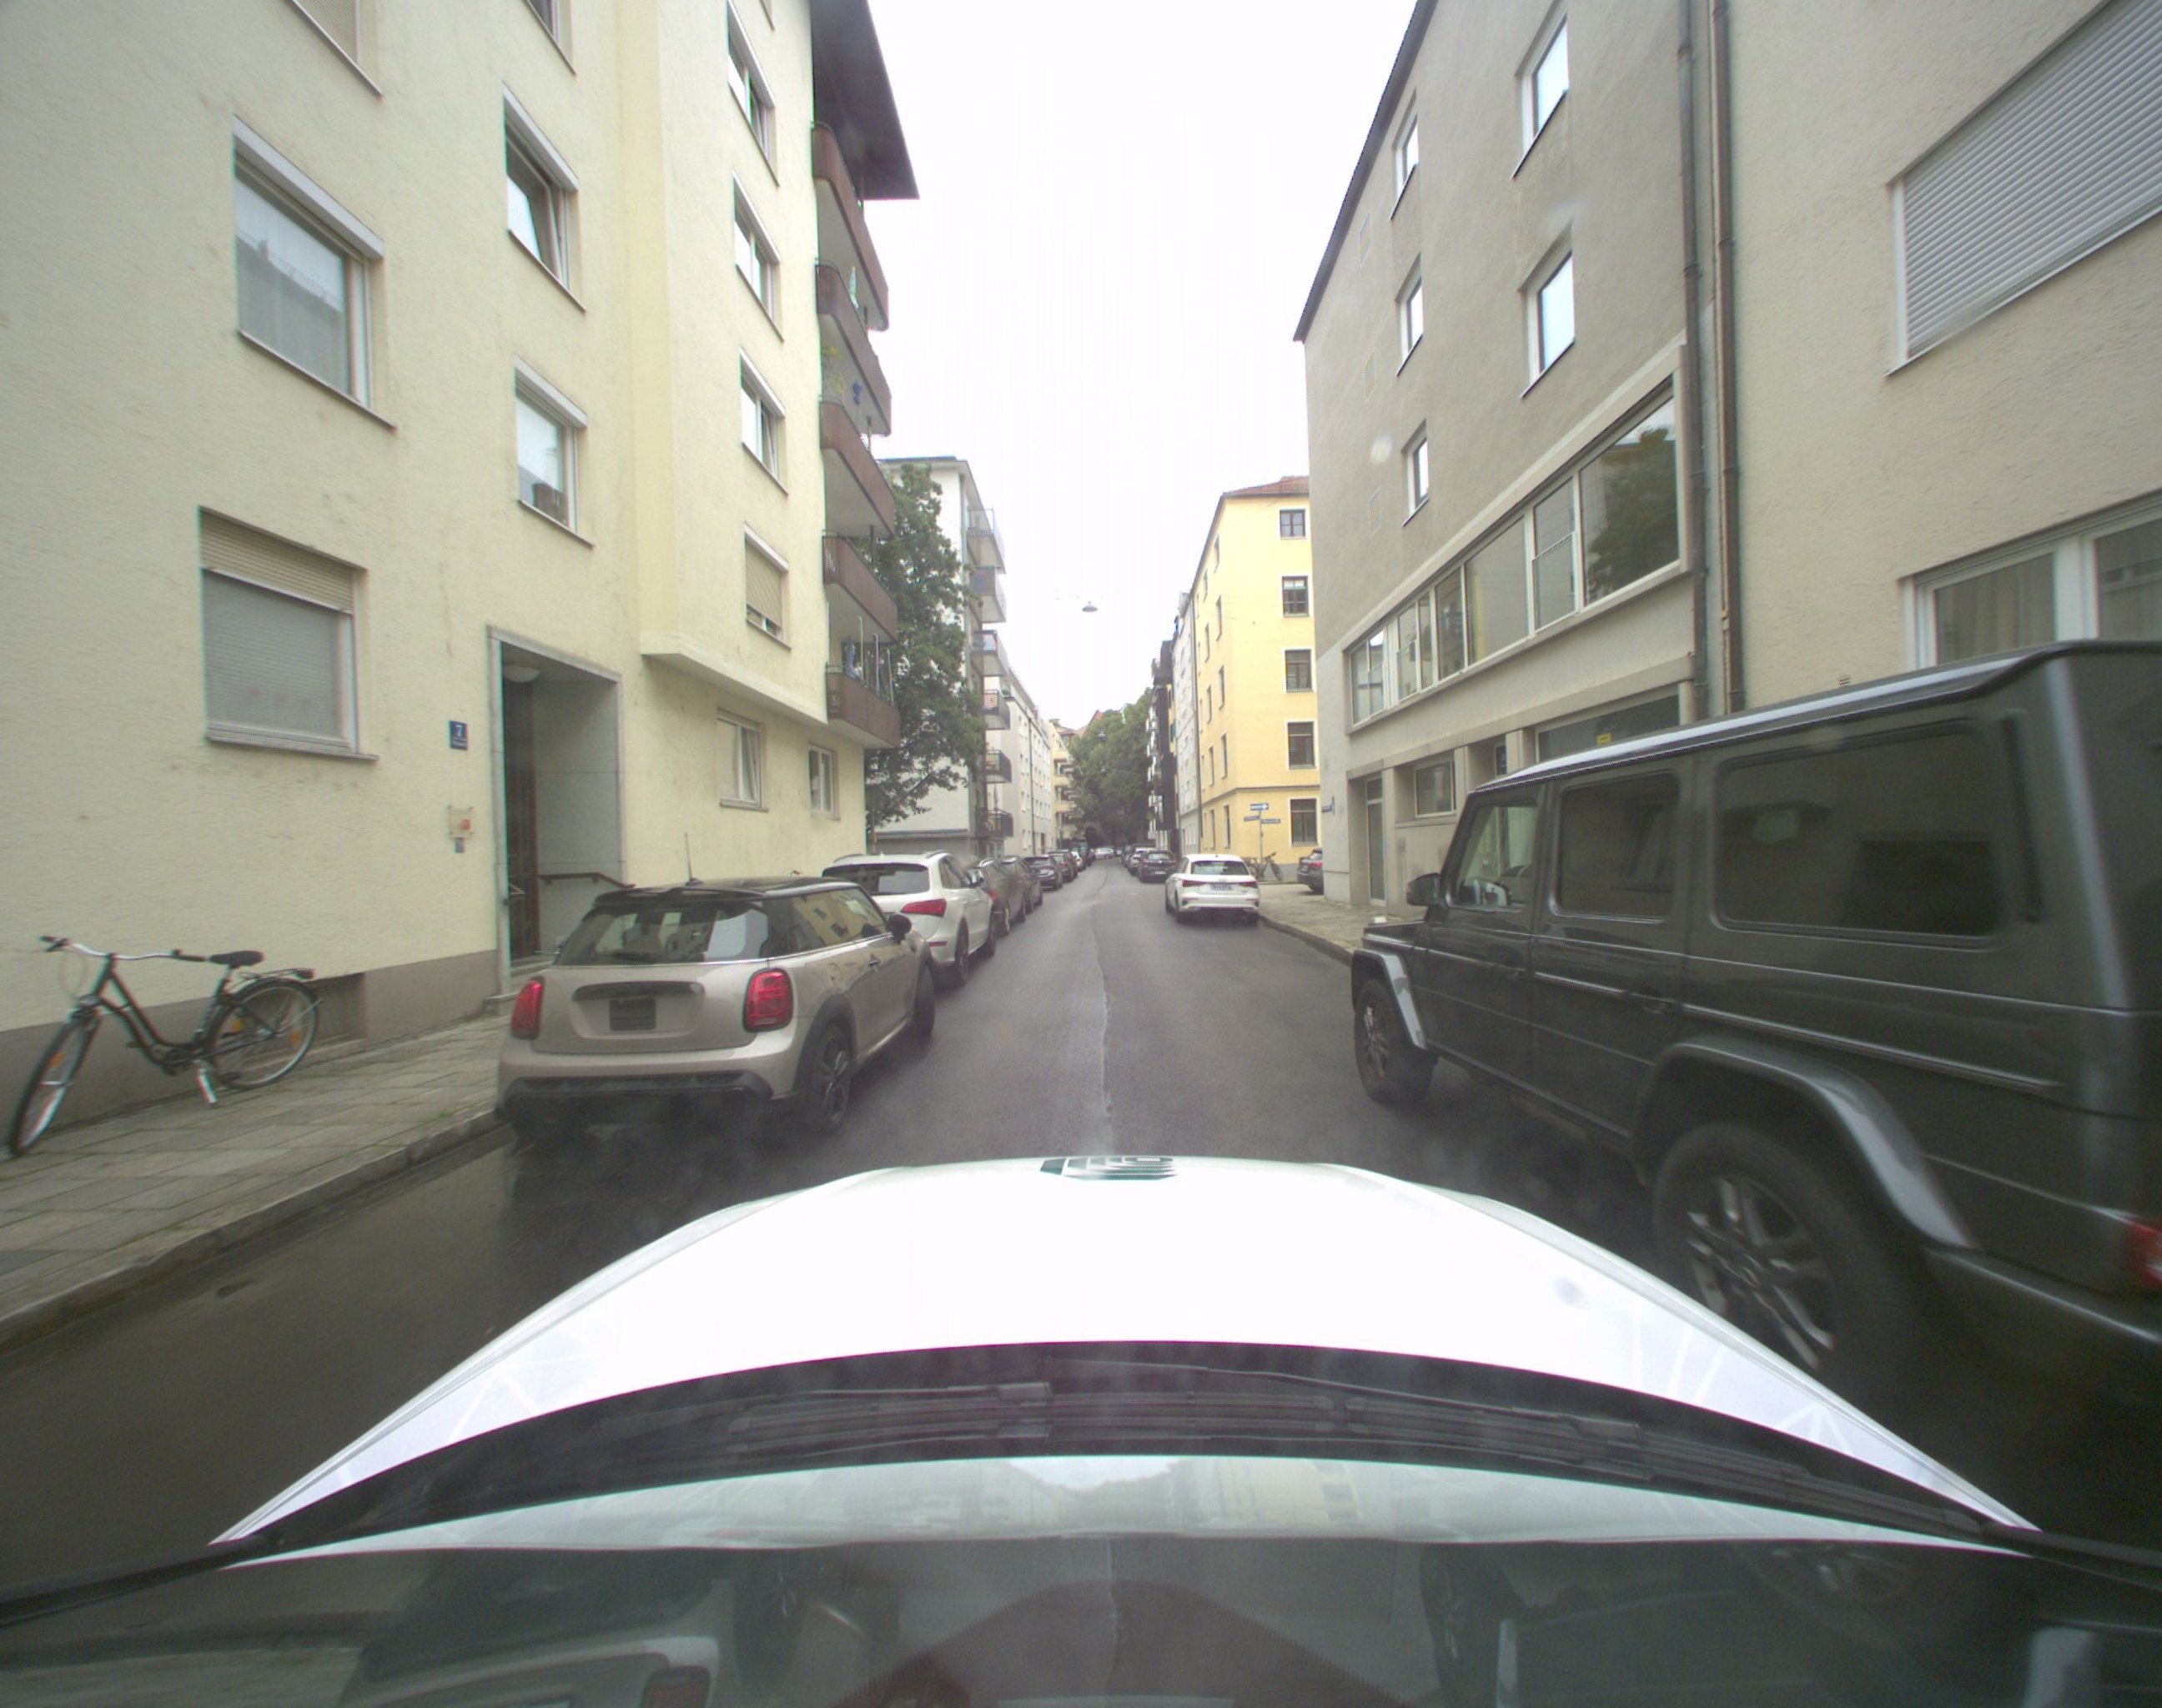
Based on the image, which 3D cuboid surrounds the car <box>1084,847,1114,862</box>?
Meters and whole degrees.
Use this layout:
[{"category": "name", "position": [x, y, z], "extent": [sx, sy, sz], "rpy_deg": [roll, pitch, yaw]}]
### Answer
[{"category": "car", "position": [2.405, 0.081, 108.658], "extent": [3.873, 1.584, 1.648], "rpy_deg": [-5, 0, 0]}]

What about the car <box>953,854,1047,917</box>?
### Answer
[{"category": "car", "position": [-2.048, 0.770, 21.895], "extent": [1.848, 1.408, 4.386], "rpy_deg": [-3, 0, 2]}]

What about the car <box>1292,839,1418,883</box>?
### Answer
[{"category": "car", "position": [10.398, 0.261, 31.114], "extent": [4.199, 1.494, 1.711], "rpy_deg": [-2, -1, -1]}]

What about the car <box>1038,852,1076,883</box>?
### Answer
[{"category": "car", "position": [-1.189, 0.646, 41.437], "extent": [1.687, 1.442, 3.977], "rpy_deg": [-3, 0, 0]}]

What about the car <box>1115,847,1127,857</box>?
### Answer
[{"category": "car", "position": [6.190, -0.305, 125.660], "extent": [1.636, 1.383, 3.747], "rpy_deg": [-5, 0, 1]}]

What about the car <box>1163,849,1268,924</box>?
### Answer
[{"category": "car", "position": [2.922, 0.655, 18.493], "extent": [1.812, 1.408, 3.954], "rpy_deg": [-1, 2, 1]}]

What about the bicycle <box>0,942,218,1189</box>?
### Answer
[{"category": "bicycle", "position": [-5.344, 1.034, 3.782], "extent": [0.728, 1.027, 1.813], "rpy_deg": [-1, 0, -1]}]

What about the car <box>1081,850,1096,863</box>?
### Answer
[{"category": "car", "position": [0.920, 0.273, 98.780], "extent": [1.636, 1.383, 3.483], "rpy_deg": [-5, 0, 1]}]

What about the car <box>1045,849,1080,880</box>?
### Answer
[{"category": "car", "position": [-1.018, 0.543, 47.264], "extent": [1.770, 1.629, 4.416], "rpy_deg": [-3, 0, 1]}]

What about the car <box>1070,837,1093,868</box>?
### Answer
[{"category": "car", "position": [0.105, -0.158, 80.121], "extent": [1.929, 2.801, 4.534], "rpy_deg": [-5, 0, 1]}]

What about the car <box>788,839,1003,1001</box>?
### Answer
[{"category": "car", "position": [-2.214, 0.717, 10.999], "extent": [1.759, 1.675, 4.368], "rpy_deg": [-3, 0, 1]}]

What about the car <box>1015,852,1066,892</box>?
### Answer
[{"category": "car", "position": [-1.622, 0.707, 33.646], "extent": [1.686, 1.442, 3.945], "rpy_deg": [-3, 0, 2]}]

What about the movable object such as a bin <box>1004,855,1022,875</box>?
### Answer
[{"category": "movable object such as a bin", "position": [-4.794, 0.751, 57.724], "extent": [1.043, 1.336, 0.994], "rpy_deg": [-4, 0, 4]}]

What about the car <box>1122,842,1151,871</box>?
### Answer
[{"category": "car", "position": [3.784, 0.128, 56.118], "extent": [1.822, 1.910, 4.418], "rpy_deg": [0, 0, 2]}]

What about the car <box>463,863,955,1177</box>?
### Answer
[{"category": "car", "position": [-2.126, 0.839, 5.895], "extent": [1.646, 1.435, 3.804], "rpy_deg": [-3, 0, 2]}]

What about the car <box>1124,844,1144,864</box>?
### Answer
[{"category": "car", "position": [5.369, 0.002, 82.986], "extent": [1.822, 1.999, 4.417], "rpy_deg": [1, 0, 1]}]

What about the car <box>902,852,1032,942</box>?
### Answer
[{"category": "car", "position": [-2.164, 0.762, 16.715], "extent": [1.758, 1.483, 4.427], "rpy_deg": [-3, 1, 3]}]

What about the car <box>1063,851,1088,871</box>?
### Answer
[{"category": "car", "position": [-0.396, 0.531, 65.506], "extent": [1.770, 1.452, 4.047], "rpy_deg": [-5, 0, 1]}]

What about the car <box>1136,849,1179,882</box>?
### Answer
[{"category": "car", "position": [3.591, 0.494, 38.795], "extent": [1.744, 1.469, 4.344], "rpy_deg": [1, 0, 1]}]

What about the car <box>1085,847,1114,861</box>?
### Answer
[{"category": "car", "position": [2.498, 0.016, 110.620], "extent": [3.873, 1.584, 1.648], "rpy_deg": [-5, 0, 0]}]

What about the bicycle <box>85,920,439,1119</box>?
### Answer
[{"category": "bicycle", "position": [-5.418, 1.022, 5.589], "extent": [0.511, 0.999, 1.860], "rpy_deg": [1, -1, 0]}]

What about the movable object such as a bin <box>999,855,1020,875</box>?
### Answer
[{"category": "movable object such as a bin", "position": [-4.982, 0.770, 56.651], "extent": [1.161, 1.336, 1.026], "rpy_deg": [-4, 0, 4]}]

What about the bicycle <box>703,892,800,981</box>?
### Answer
[{"category": "bicycle", "position": [-5.050, 1.236, 12.619], "extent": [0.642, 1.161, 1.790], "rpy_deg": [-4, 0, 2]}]

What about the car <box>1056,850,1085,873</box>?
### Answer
[{"category": "car", "position": [-0.749, 0.539, 60.362], "extent": [1.770, 1.487, 4.522], "rpy_deg": [-5, 0, 2]}]

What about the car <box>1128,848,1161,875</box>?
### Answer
[{"category": "car", "position": [3.746, 0.406, 48.677], "extent": [1.676, 1.567, 4.416], "rpy_deg": [1, 0, 1]}]

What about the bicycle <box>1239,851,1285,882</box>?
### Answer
[{"category": "bicycle", "position": [7.265, 0.486, 32.766], "extent": [1.707, 1.139, 0.374], "rpy_deg": [-3, 2, 0]}]

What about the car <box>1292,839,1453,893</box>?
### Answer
[{"category": "car", "position": [8.782, 0.331, 24.785], "extent": [4.192, 1.399, 1.999], "rpy_deg": [-2, 2, -2]}]

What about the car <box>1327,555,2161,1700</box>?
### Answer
[{"category": "car", "position": [2.631, 0.461, 3.595], "extent": [1.745, 1.975, 4.342], "rpy_deg": [0, 0, 0]}]

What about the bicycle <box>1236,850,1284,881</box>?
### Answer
[{"category": "bicycle", "position": [7.320, 0.468, 33.287], "extent": [1.802, 1.174, 0.505], "rpy_deg": [-3, 2, -1]}]
